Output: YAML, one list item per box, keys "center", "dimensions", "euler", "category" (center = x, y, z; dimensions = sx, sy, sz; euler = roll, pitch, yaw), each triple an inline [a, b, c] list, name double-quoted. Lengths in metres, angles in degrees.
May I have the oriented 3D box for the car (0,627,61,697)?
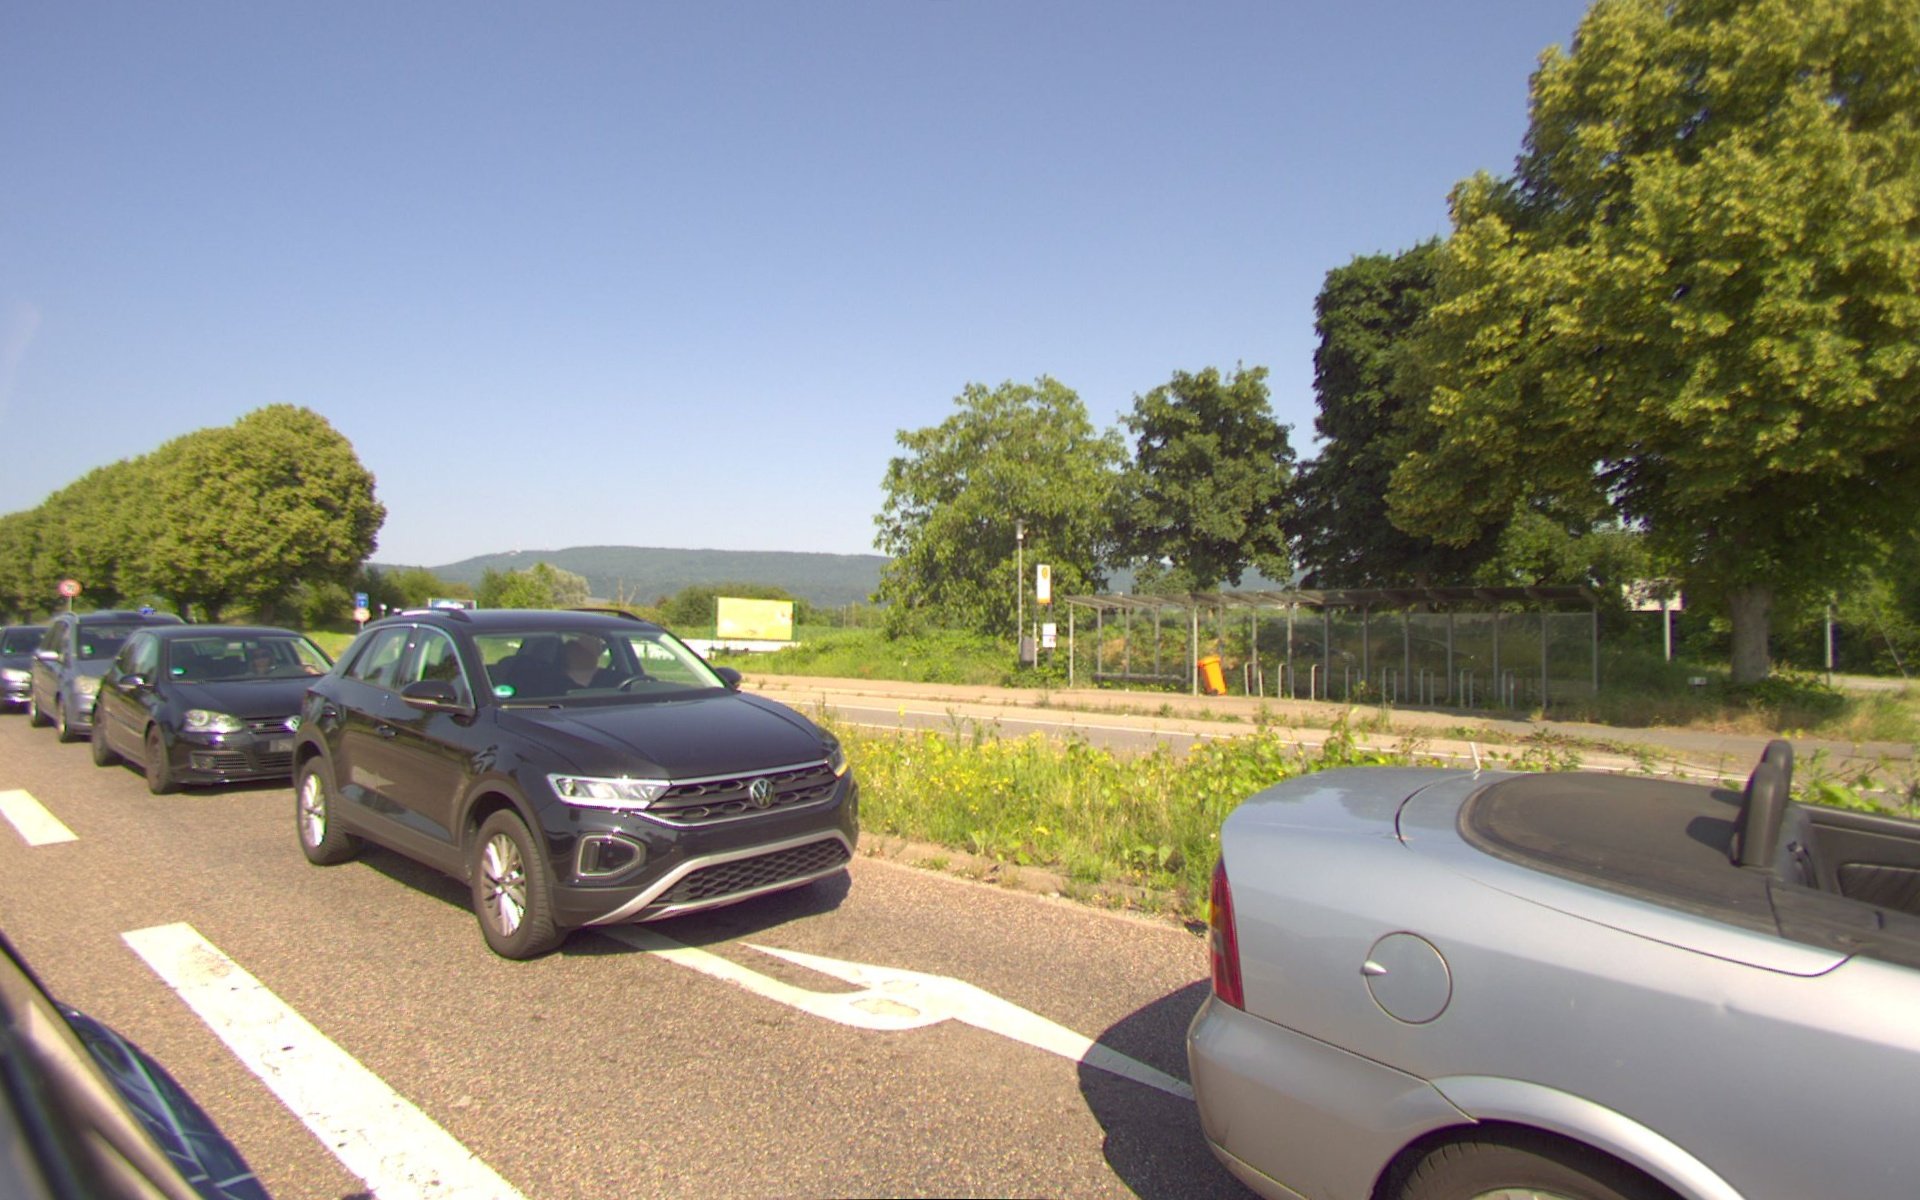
- center: [-21.370, 1.317, 22.284]
  dimensions: [4.639, 1.436, 1.784]
  euler: [-1, -1, 41]
  category: "car"

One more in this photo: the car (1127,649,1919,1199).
- center: [2.425, 0.773, 1.402]
  dimensions: [4.096, 1.345, 1.656]
  euler: [-1, -3, 42]
  category: "car"

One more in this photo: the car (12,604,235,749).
- center: [-11.591, 0.947, 13.921]
  dimensions: [4.355, 1.685, 1.723]
  euler: [-2, -2, 42]
  category: "car"

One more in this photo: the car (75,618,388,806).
- center: [-7.313, 0.944, 10.010]
  dimensions: [4.096, 1.486, 1.648]
  euler: [-2, -2, 42]
  category: "car"

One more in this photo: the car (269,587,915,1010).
- center: [-2.317, 0.786, 5.756]
  dimensions: [4.096, 1.559, 1.710]
  euler: [-2, -2, 42]
  category: "car"

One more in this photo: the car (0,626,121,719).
- center: [-16.186, 1.190, 17.689]
  dimensions: [4.353, 1.421, 1.696]
  euler: [-2, -1, 42]
  category: "car"
